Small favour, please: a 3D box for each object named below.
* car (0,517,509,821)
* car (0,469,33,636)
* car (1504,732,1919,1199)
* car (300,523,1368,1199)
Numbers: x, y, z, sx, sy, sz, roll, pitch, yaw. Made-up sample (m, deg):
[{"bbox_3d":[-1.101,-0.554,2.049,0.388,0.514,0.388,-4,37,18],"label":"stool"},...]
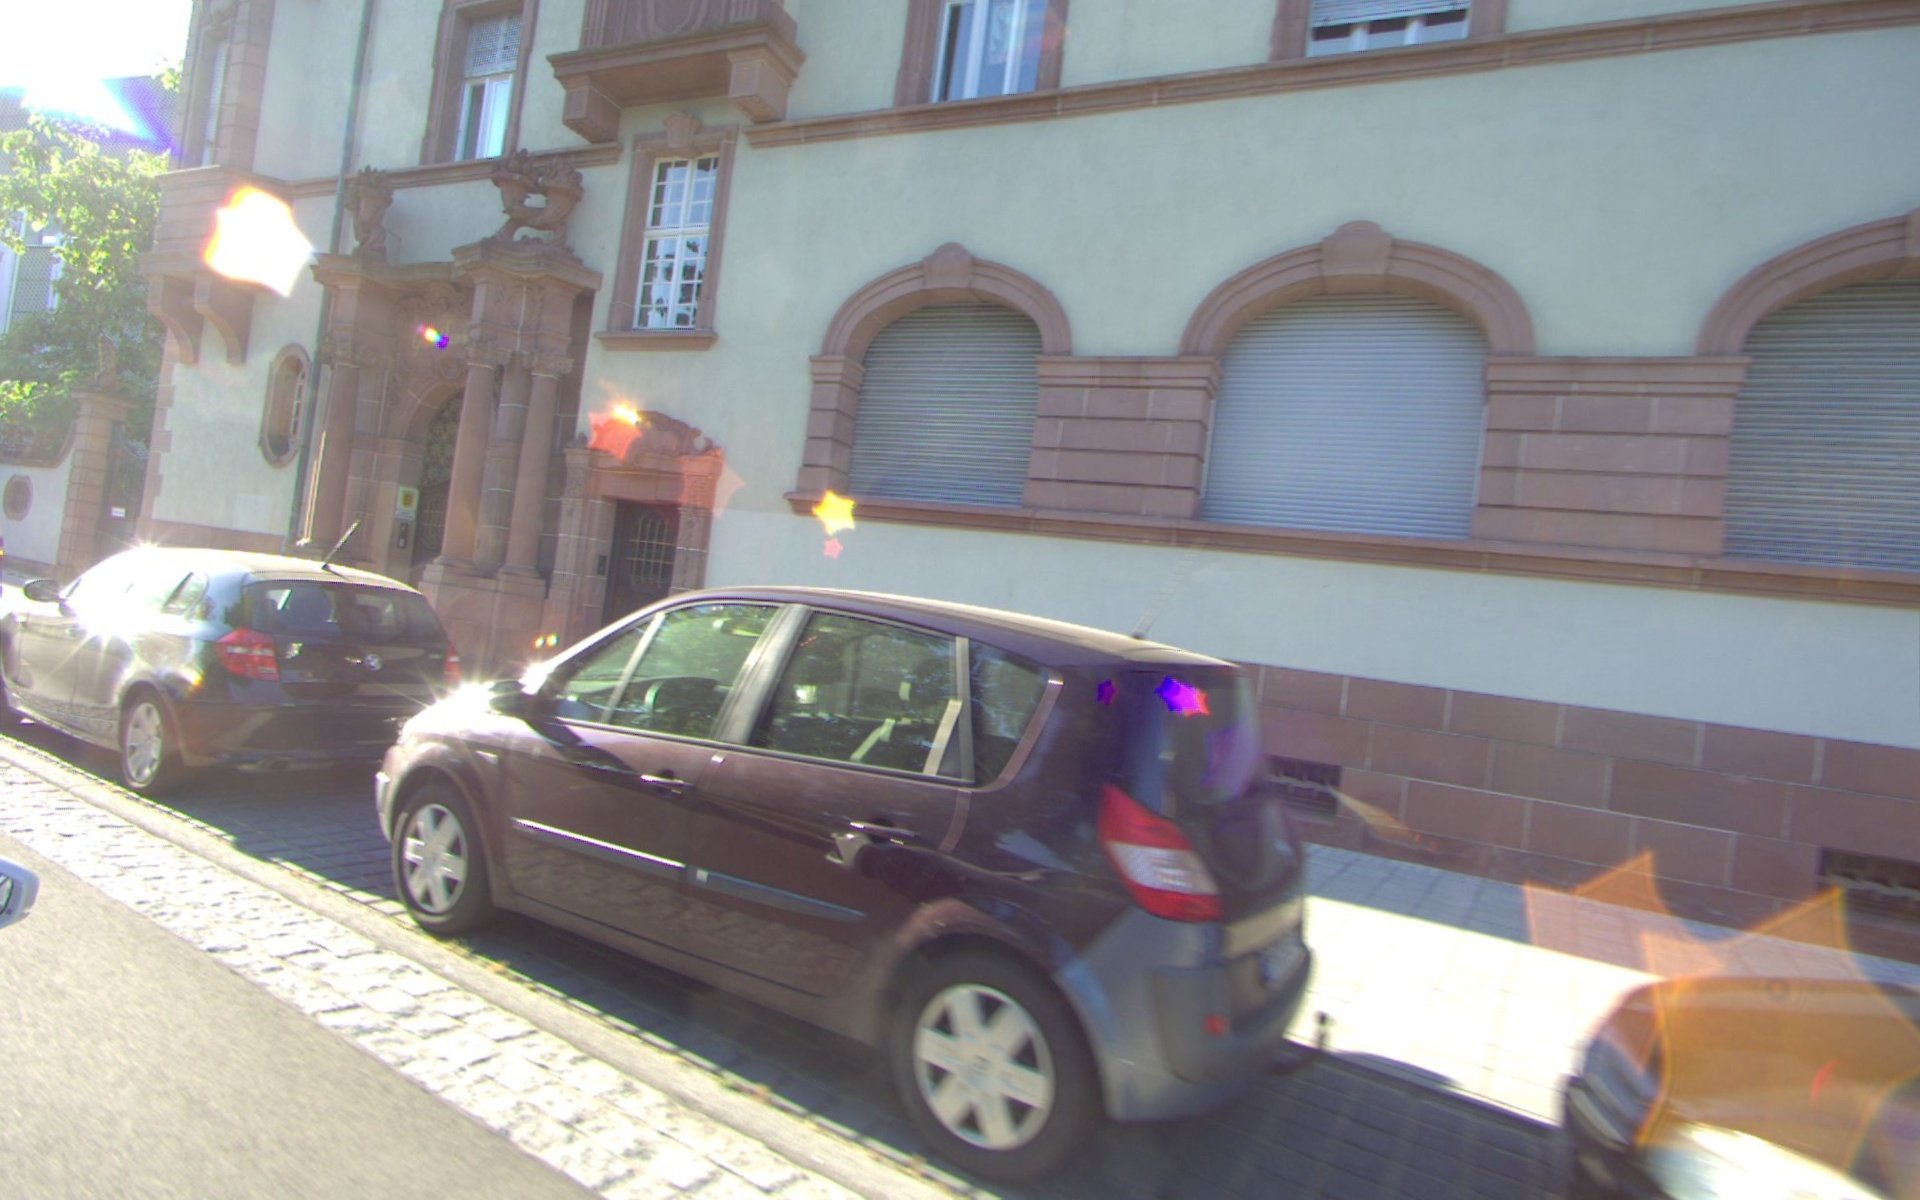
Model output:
[{"bbox_3d":[-5.242,0.326,7.030,4.130,1.419,1.682,6,-1,32],"label":"car"},{"bbox_3d":[-13.848,-0.851,12.634,4.769,1.991,1.995,7,1,32],"label":"car"},{"bbox_3d":[3.480,1.320,1.655,4.446,1.453,1.875,6,-1,31],"label":"car"},{"bbox_3d":[-0.661,0.730,4.291,4.121,1.621,1.819,6,-1,30],"label":"car"}]
